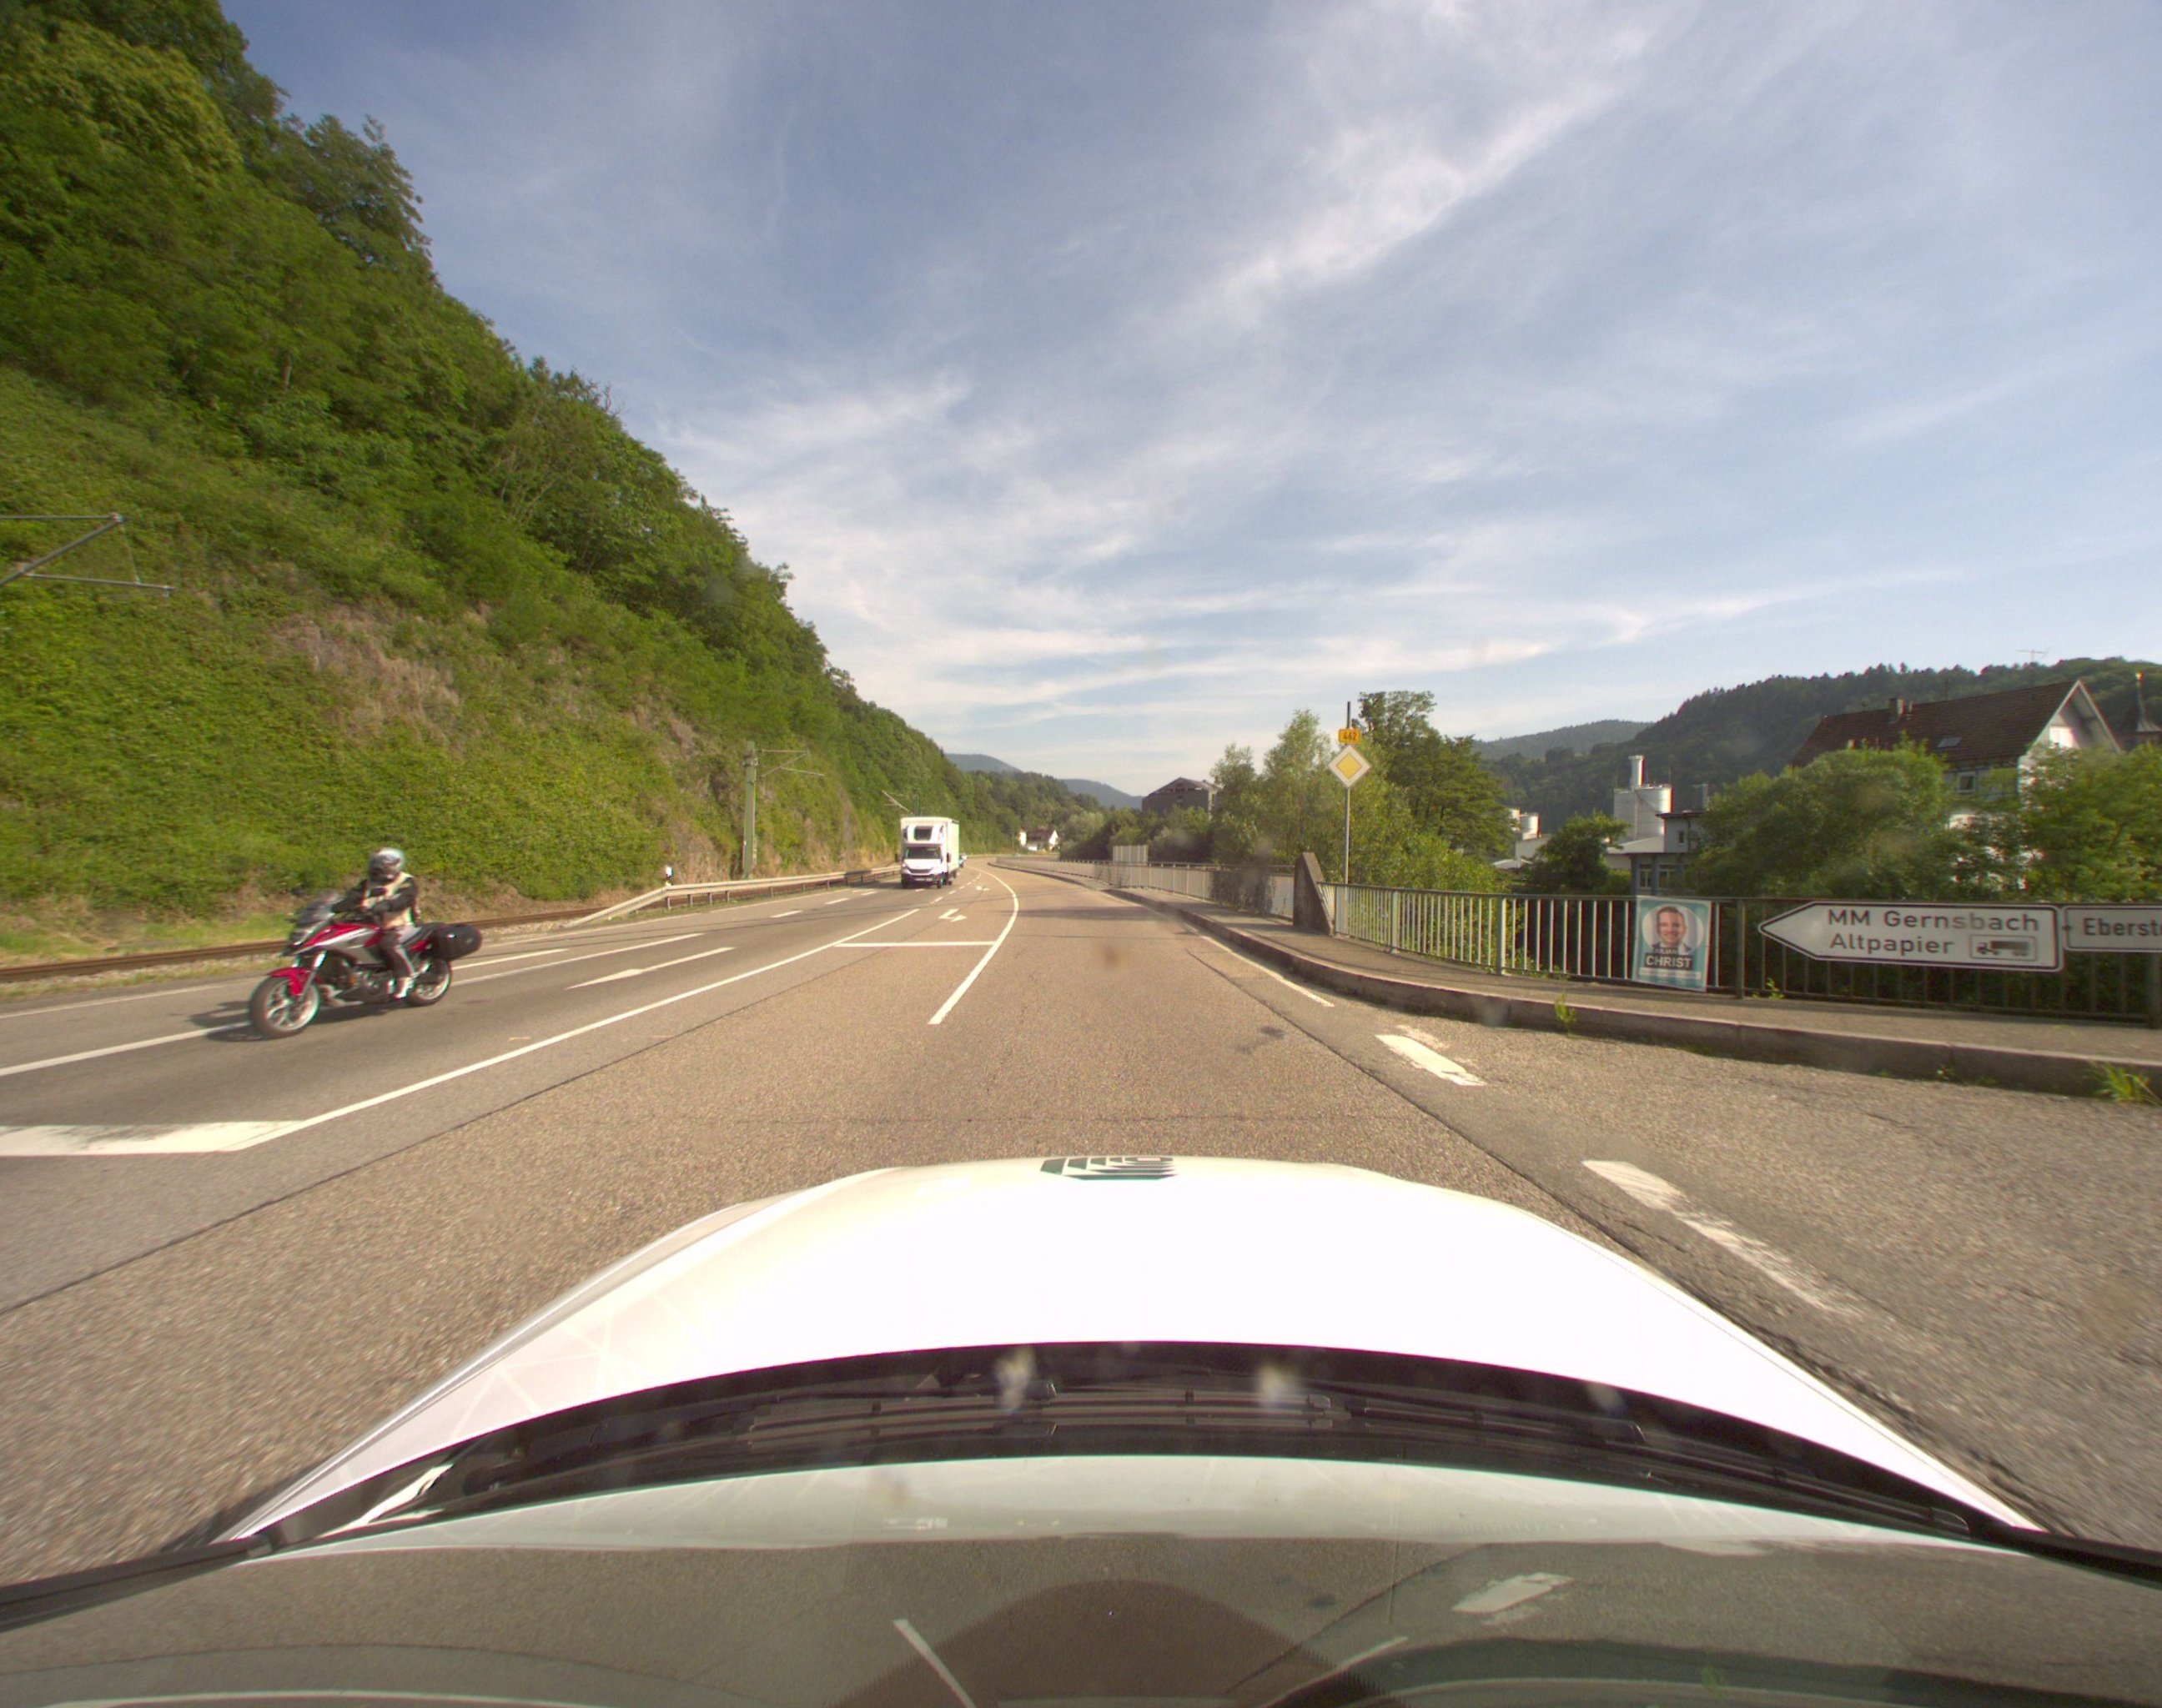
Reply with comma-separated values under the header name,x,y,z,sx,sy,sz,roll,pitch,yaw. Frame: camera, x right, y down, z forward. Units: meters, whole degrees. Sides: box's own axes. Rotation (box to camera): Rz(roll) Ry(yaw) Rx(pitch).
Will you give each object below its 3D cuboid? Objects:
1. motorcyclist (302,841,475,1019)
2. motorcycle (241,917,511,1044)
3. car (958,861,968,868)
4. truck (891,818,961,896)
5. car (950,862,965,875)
name,x,y,z,sx,sy,sz,roll,pitch,yaw
motorcyclist,-7.023,0.736,8.315,1.003,1.715,0.865,0,-1,-1
motorcycle,-7.016,1.203,8.320,0.821,0.954,2.217,0,0,0
car,-25.191,2.192,173.166,2.062,1.439,4.672,0,-1,-8
truck,-8.287,0.182,44.453,2.893,3.799,8.877,0,0,-5
car,-15.095,1.767,99.584,1.718,1.571,4.120,0,-1,-10
